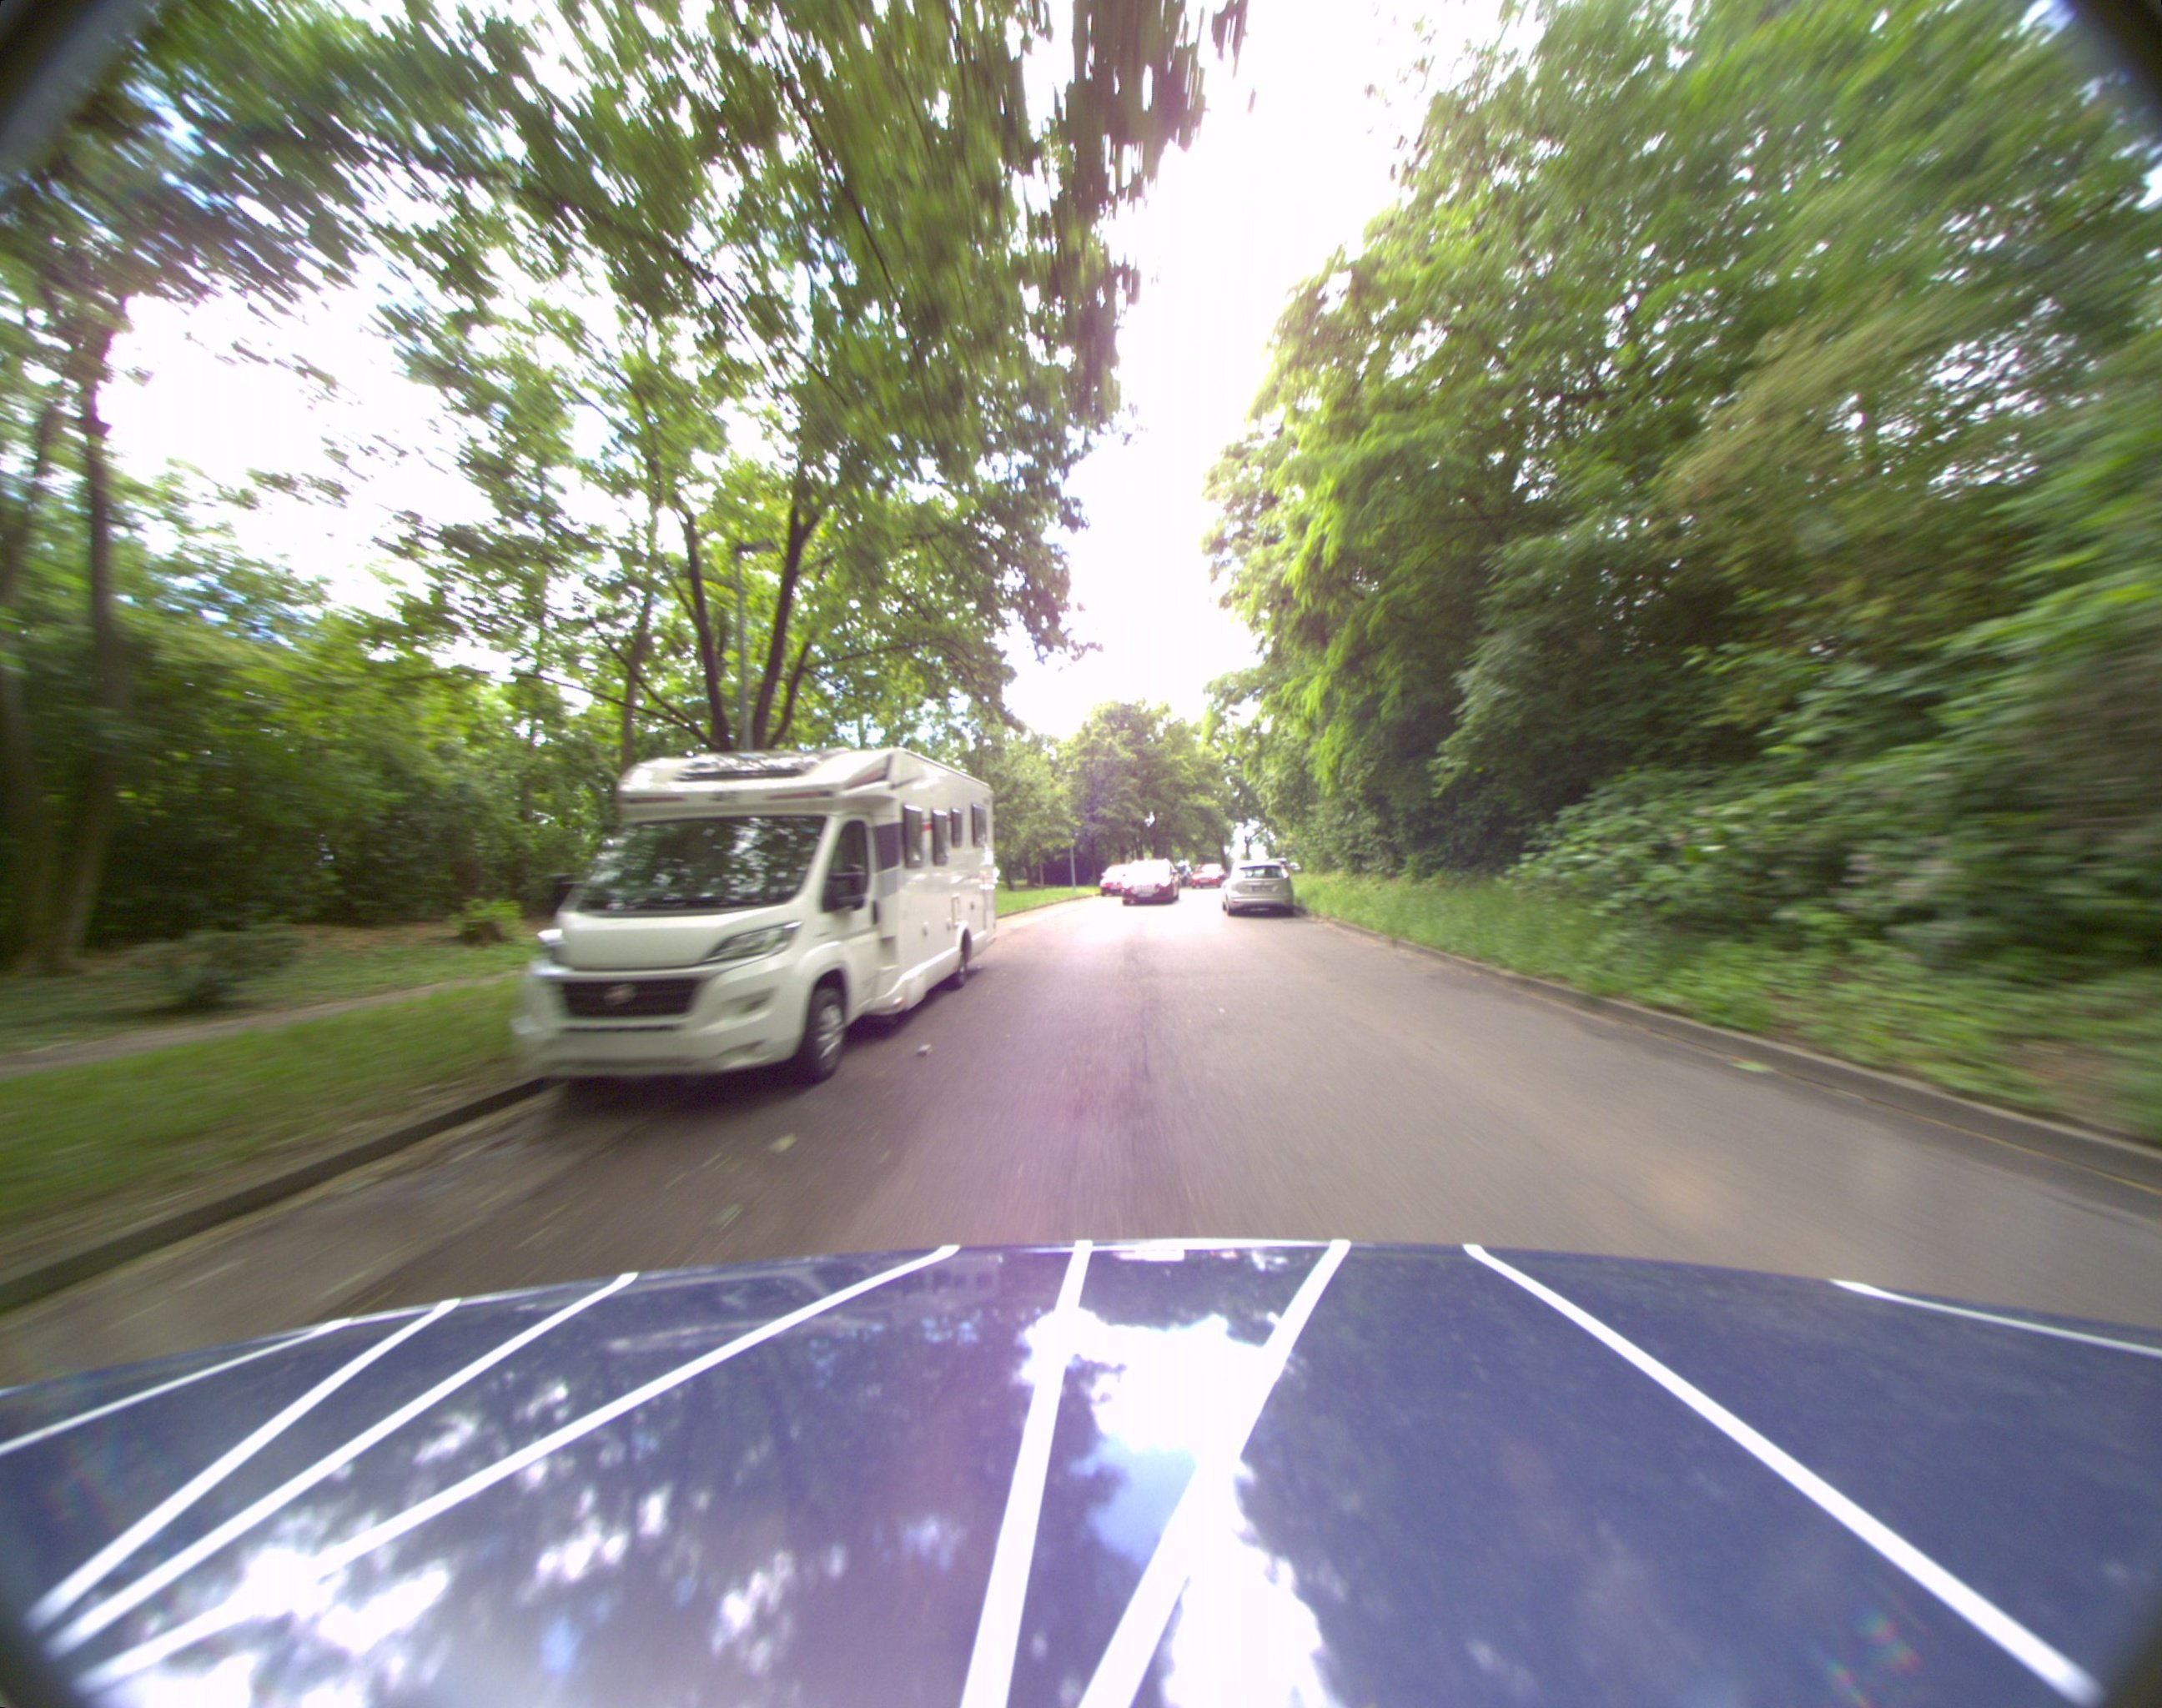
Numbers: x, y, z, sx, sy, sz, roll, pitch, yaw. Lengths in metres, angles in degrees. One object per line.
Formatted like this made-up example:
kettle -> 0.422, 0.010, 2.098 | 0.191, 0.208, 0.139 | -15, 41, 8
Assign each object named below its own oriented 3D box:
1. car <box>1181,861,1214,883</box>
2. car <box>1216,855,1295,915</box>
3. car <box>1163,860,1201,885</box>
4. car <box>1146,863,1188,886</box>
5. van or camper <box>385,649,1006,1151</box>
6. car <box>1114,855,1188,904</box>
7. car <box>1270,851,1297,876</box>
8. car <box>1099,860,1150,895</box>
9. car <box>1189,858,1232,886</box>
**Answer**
car -> 9.165, 1.379, 59.325 | 1.713, 1.413, 4.683 | -3, 0, 19
car -> 4.832, 0.799, 21.517 | 1.797, 1.499, 4.003 | -2, 0, 8
car -> 7.312, 1.304, 54.575 | 1.713, 1.502, 4.683 | -3, 0, 19
car -> 5.649, 1.298, 49.488 | 1.713, 1.248, 4.683 | -3, 0, 19
van or camper -> -2.755, 0.317, 8.332 | 2.430, 2.962, 7.395 | -3, 0, 4
car -> 2.810, 0.911, 29.262 | 2.001, 1.599, 4.682 | -3, 0, 15
car -> 15.386, 0.693, 57.662 | 1.823, 1.717, 4.317 | -3, 0, 16
car -> 2.292, 1.160, 39.030 | 1.713, 1.543, 4.682 | -3, 0, 14
car -> 7.970, 1.051, 46.444 | 1.955, 1.464, 4.683 | -3, 0, 17
